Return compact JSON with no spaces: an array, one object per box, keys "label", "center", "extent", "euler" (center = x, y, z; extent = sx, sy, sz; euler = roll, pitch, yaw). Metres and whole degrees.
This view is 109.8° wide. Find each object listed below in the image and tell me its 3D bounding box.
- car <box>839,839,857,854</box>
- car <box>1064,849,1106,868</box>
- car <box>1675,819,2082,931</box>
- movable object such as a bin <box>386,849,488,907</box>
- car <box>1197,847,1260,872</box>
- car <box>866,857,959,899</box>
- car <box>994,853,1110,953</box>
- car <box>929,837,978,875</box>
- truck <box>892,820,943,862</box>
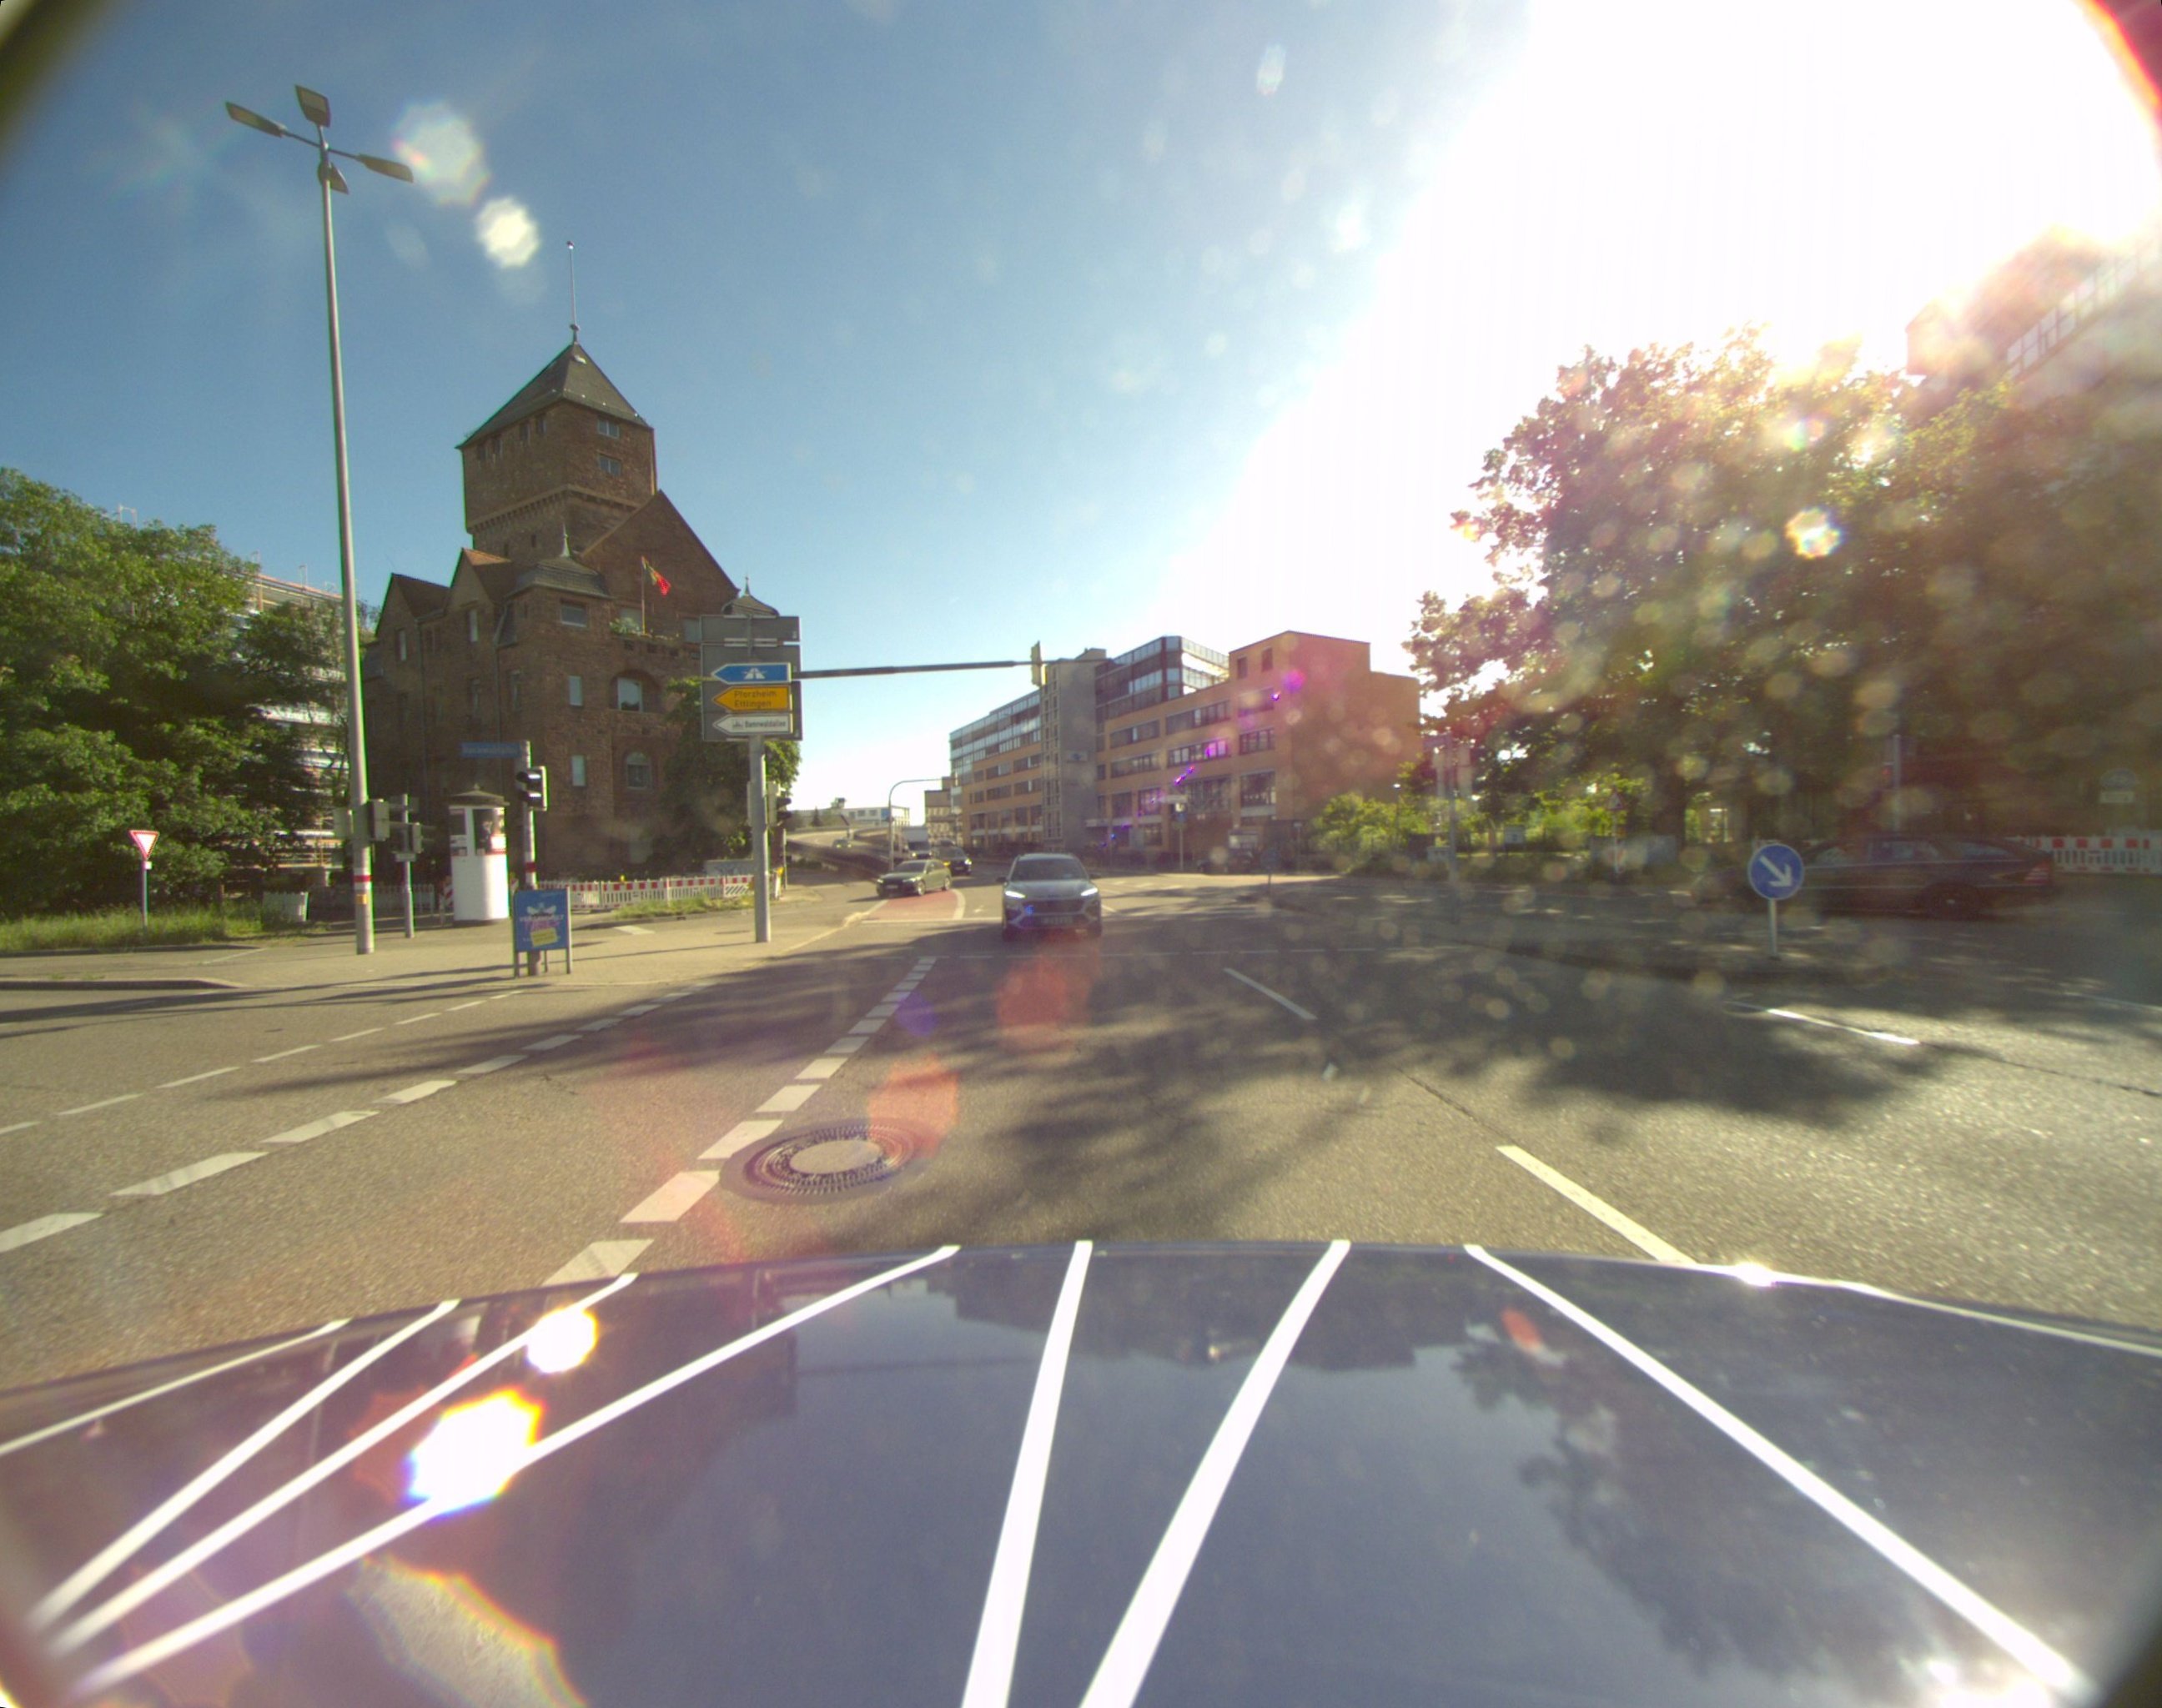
[{"label":"car","center":[-28.966,-0.929,94.226],"extent":[1.759,1.749,4.776],"euler":[-2,1,-21]},{"label":"car","center":[0.311,0.396,65.213],"extent":[1.641,1.515,4.151],"euler":[-2,1,-31]},{"label":"car","center":[13.748,0.297,13.432],"extent":[1.955,1.612,4.772],"euler":[-2,1,-37]},{"label":"movable object such as a bin","center":[-28.417,1.044,33.539],"extent":[3.990,2.395,2.003],"euler":[-1,1,28]},{"label":"car","center":[9.215,0.347,47.869],"extent":[1.662,1.500,4.371],"euler":[0,-1,-24]},{"label":"car","center":[-7.025,0.969,32.261],"extent":[1.877,1.462,4.640],"euler":[-3,1,15]},{"label":"car","center":[-0.725,0.834,15.210],"extent":[1.880,1.612,4.193],"euler":[-2,1,-8]},{"label":"car","center":[-8.128,0.115,48.003],"extent":[1.954,2.248,4.776],"euler":[-2,1,-23]},{"label":"truck","center":[-13.136,-0.996,60.564],"extent":[2.507,3.110,6.945],"euler":[-2,1,-24]}]
